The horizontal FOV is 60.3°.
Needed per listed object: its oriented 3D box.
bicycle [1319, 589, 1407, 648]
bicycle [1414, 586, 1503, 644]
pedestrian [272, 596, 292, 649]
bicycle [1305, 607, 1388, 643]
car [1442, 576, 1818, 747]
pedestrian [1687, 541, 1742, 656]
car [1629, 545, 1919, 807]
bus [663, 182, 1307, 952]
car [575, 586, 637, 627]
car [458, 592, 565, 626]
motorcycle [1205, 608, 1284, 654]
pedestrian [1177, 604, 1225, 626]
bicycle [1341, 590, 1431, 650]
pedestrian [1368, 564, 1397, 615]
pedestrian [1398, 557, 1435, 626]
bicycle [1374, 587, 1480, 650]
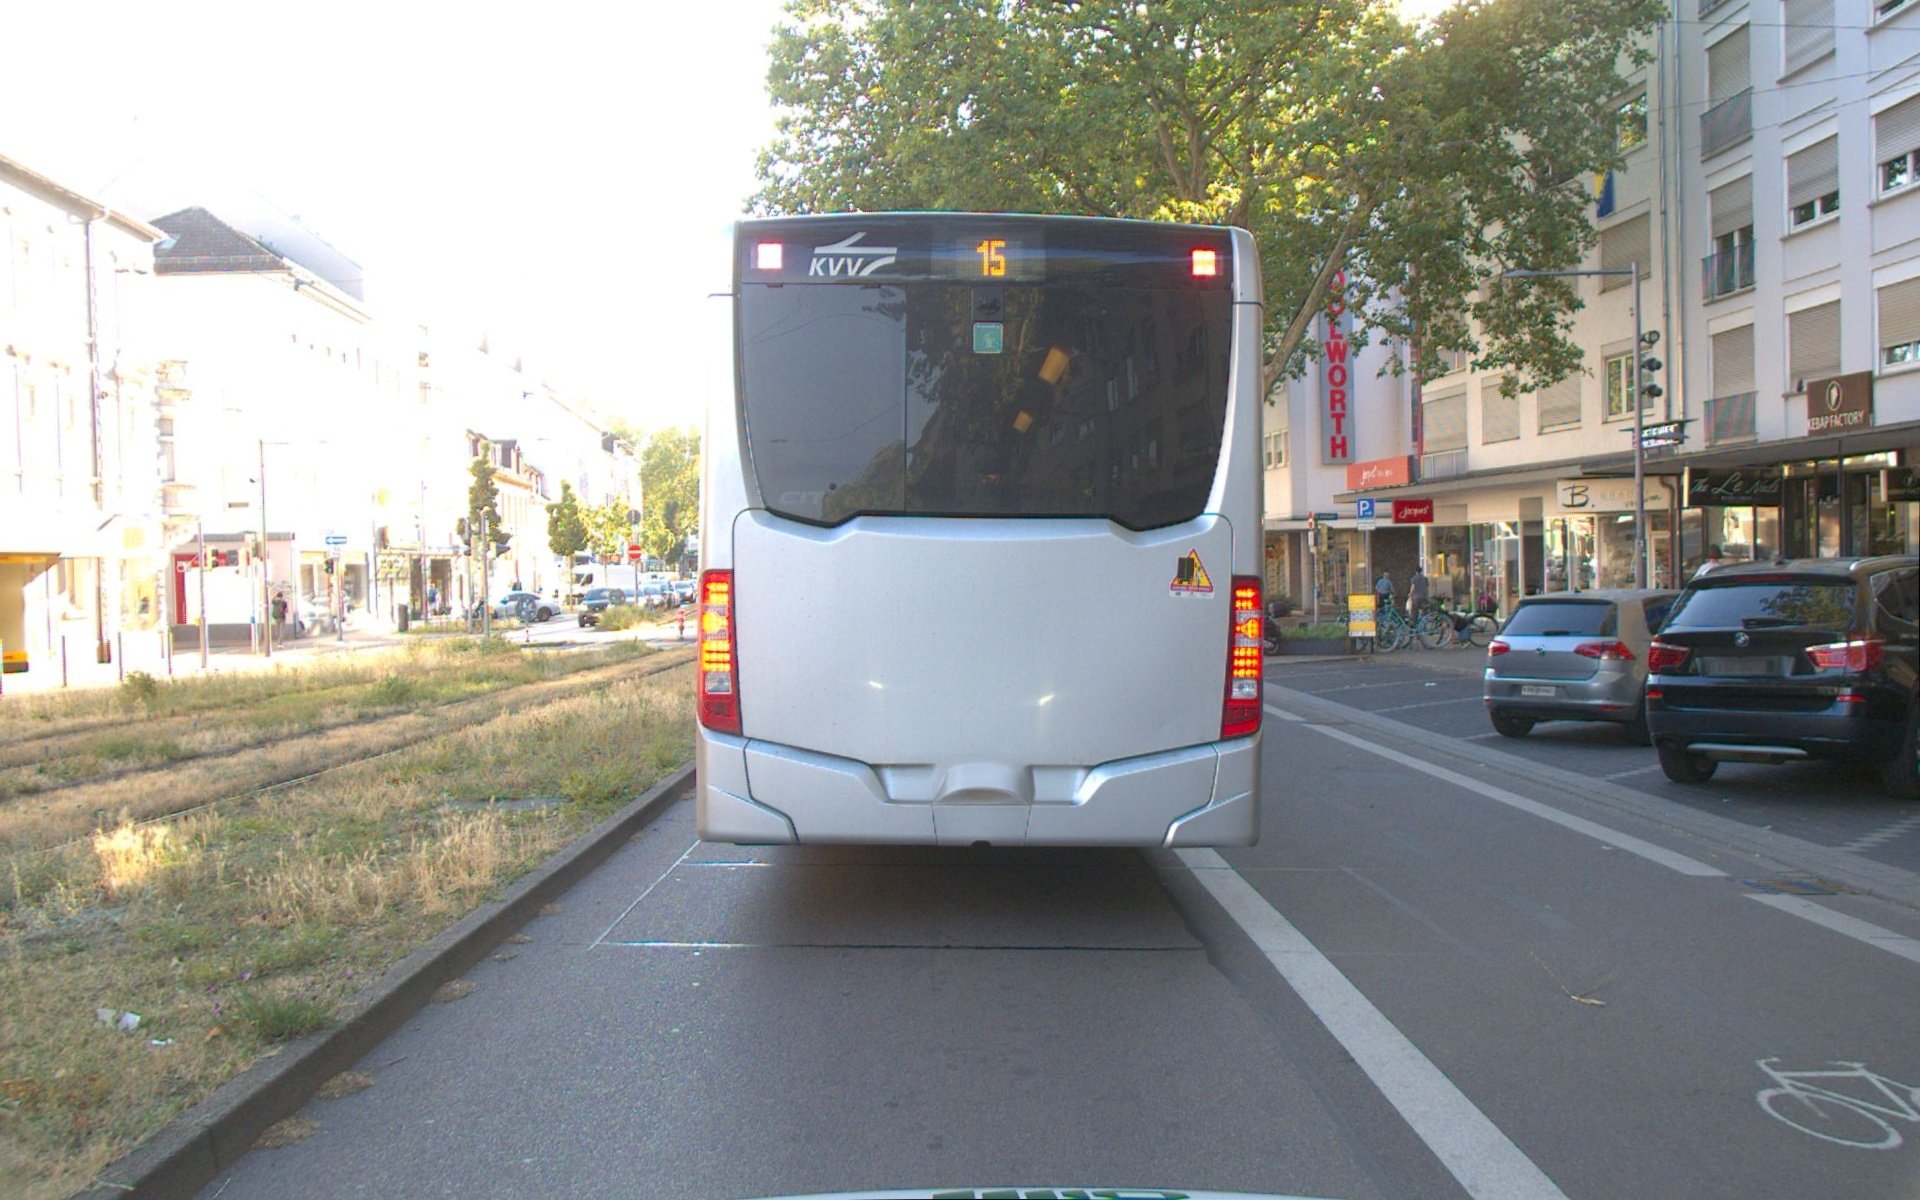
[{"bbox_3d":[9.261,0.427,38.035,1.836,1.210,0.712,-4,0,8],"label":"bicycle"},{"bbox_3d":[10.825,0.325,35.965,1.727,1.174,0.679,-3,0,8],"label":"bicycle"},{"bbox_3d":[-22.563,0.733,55.043,0.417,1.743,0.508,-1,0,3],"label":"pedestrian"},{"bbox_3d":[9.092,0.581,38.985,1.836,0.778,0.712,-1,2,8],"label":"bicycle"},{"bbox_3d":[6.944,0.547,16.976,4.136,1.477,1.785,-2,1,-39],"label":"car"},{"bbox_3d":[12.795,-0.025,28.064,0.629,1.909,0.825,-1,0,10],"label":"pedestrian"},{"bbox_3d":[7.056,0.455,12.867,4.115,1.710,1.782,-2,1,-42],"label":"car"},{"bbox_3d":[0.130,-0.190,10.307,2.623,3.137,7.115,0,1,0],"label":"bus"},{"bbox_3d":[-14.539,0.235,68.009,1.687,1.535,3.476,-4,0,0],"label":"car"},{"bbox_3d":[-21.337,0.412,78.734,4.504,1.437,1.974,-2,1,-37],"label":"car"},{"bbox_3d":[5.985,0.653,34.858,1.539,0.908,0.544,-2,0,-4],"label":"motorcycle"},{"bbox_3d":[6.659,0.410,45.710,1.229,0.599,0.482,-1,0,-3],"label":"pedestrian"},{"bbox_3d":[9.535,0.440,37.028,1.753,1.210,0.671,-4,0,-9],"label":"bicycle"},{"bbox_3d":[14.738,-0.369,57.719,0.733,1.708,0.834,-1,2,-7],"label":"pedestrian"},{"bbox_3d":[12.208,-0.229,44.246,0.764,1.825,0.764,-1,0,-1],"label":"pedestrian"},{"bbox_3d":[10.018,0.385,35.519,2.037,1.254,0.832,-2,0,4],"label":"bicycle"}]
